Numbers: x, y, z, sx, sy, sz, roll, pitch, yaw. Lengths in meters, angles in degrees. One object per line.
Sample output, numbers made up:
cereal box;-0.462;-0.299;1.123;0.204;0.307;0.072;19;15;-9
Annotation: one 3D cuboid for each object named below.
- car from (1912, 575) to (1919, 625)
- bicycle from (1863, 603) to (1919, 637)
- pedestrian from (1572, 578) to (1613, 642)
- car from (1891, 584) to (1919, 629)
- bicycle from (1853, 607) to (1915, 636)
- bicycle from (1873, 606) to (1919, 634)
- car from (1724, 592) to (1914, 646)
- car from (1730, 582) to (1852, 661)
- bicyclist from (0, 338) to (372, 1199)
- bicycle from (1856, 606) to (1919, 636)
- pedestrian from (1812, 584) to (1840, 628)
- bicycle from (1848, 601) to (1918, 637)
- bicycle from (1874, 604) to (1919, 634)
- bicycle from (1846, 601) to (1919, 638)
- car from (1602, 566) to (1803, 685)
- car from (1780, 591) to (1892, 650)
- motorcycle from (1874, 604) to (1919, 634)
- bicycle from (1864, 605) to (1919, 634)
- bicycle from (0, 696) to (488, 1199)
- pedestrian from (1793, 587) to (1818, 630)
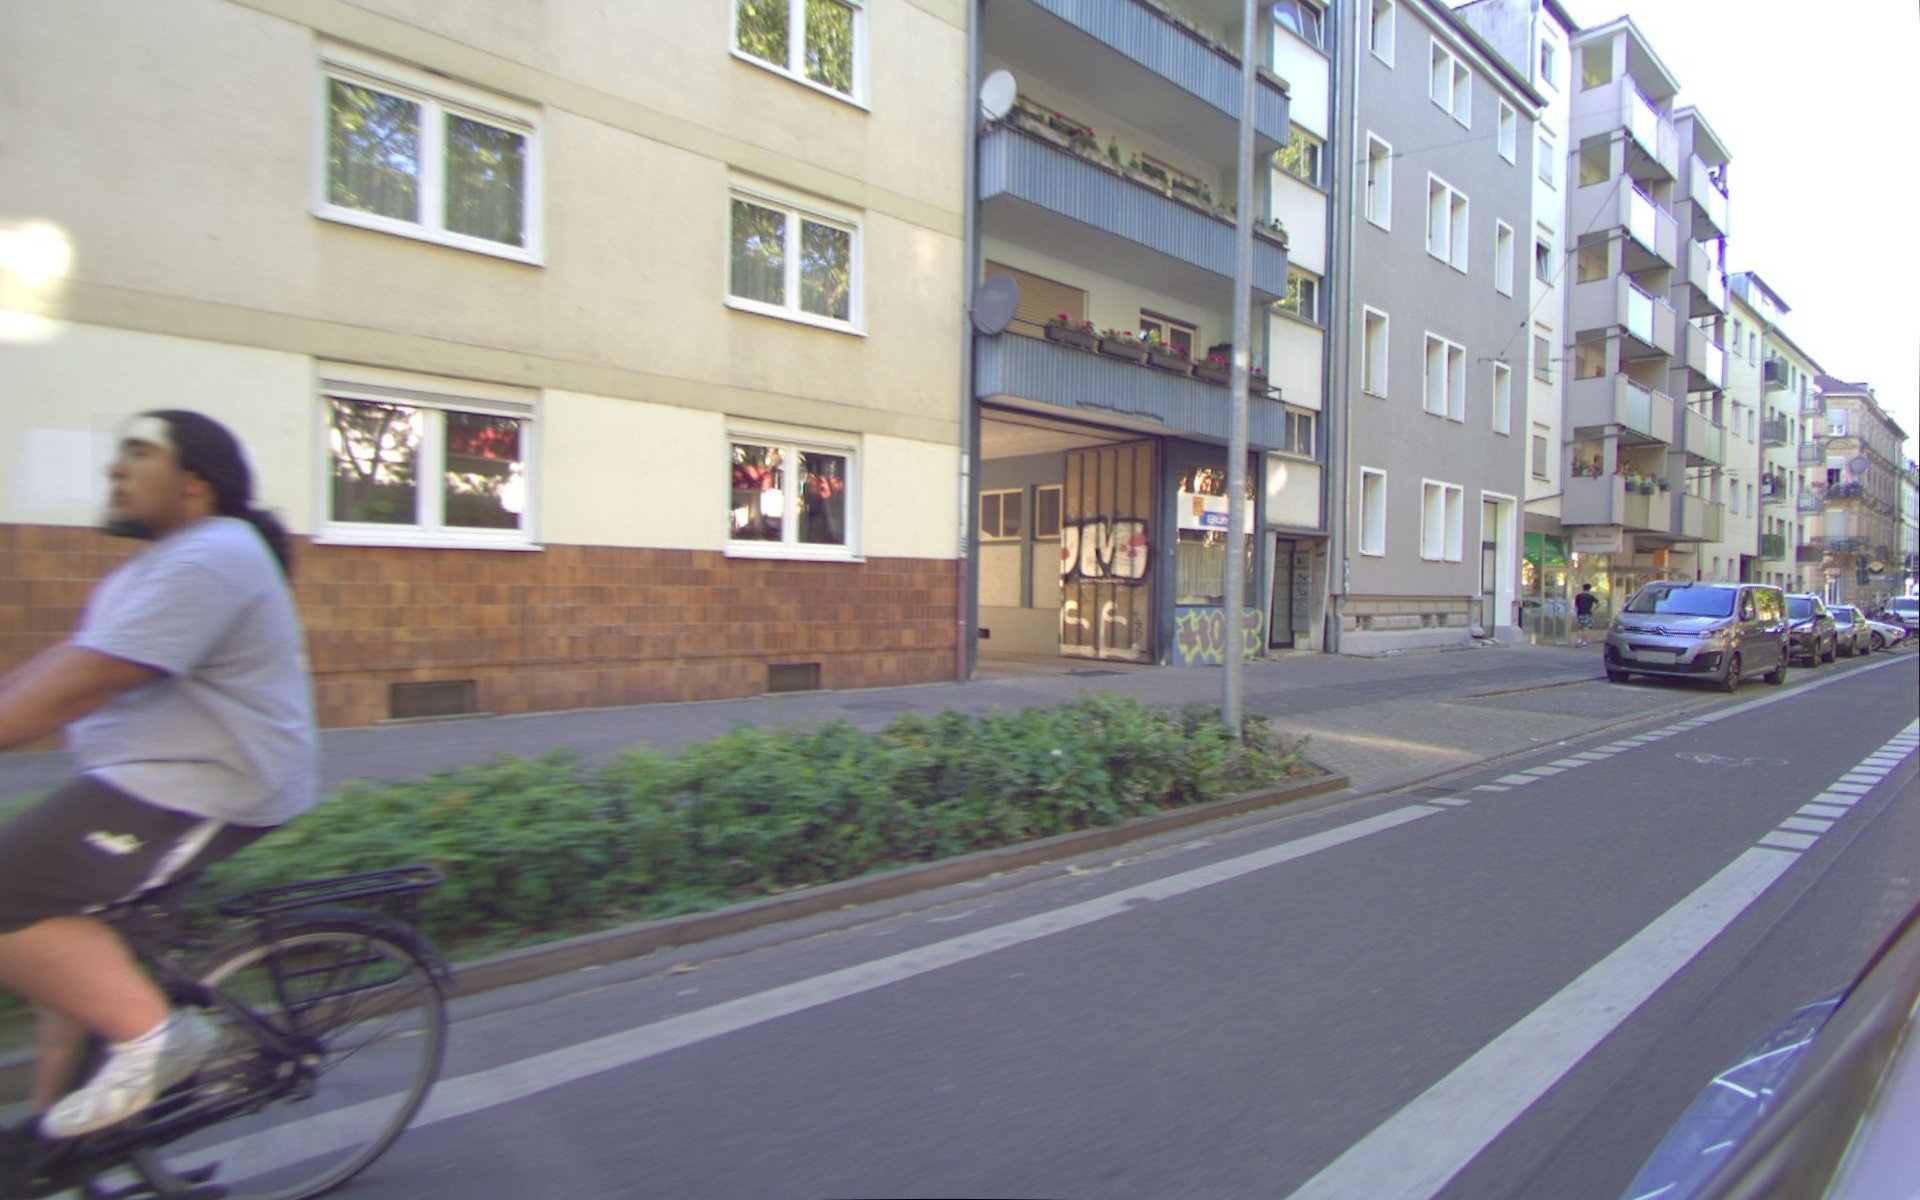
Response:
car;50.823;-0.017;52.086;5.984;2.526;2.152;0;1;-42
bicycle;35.517;0.765;38.362;0.692;1.162;1.797;0;3;-41
pedestrian;17.517;0.260;28.044;0.707;1.741;0.757;0;1;-40
car;43.163;0.273;45.176;4.277;1.841;1.862;-1;5;-42
bicycle;34.550;0.787;37.854;0.449;0.978;1.656;0;3;-41
bicycle;36.616;0.789;39.301;0.449;0.999;1.656;0;3;-41
car;27.984;0.568;33.193;4.606;1.455;1.839;3;2;38
car;20.071;0.461;24.378;4.211;1.726;1.768;0;1;-44
bicyclist;-1.879;0.414;2.205;0.899;1.781;0.788;0;1;-42
bicycle;34.933;0.785;38.134;0.449;1.033;1.656;0;3;-41
pedestrian;37.441;0.247;43.742;1.062;1.845;0.711;-1;2;-40
bicycle;34.201;0.701;37.511;0.449;1.206;1.827;0;3;-41
bicycle;36.961;0.744;39.634;0.449;1.068;1.656;0;3;-41
bicycle;33.857;0.710;37.178;0.449;1.206;1.896;0;3;-41
car;13.724;0.384;18.589;4.837;1.913;1.862;0;1;-40
car;25.033;0.537;28.872;4.432;1.544;1.728;0;1;-40
motorcycle;37.688;0.757;40.320;0.604;1.093;1.829;1;2;-18
bicycle;36.116;0.758;39.118;0.449;0.999;1.656;0;3;-41
bicycle;-2.160;0.855;2.177;1.956;1.106;0.702;-1;0;-42
pedestrian;37.005;0.367;44.295;1.062;1.845;0.626;-1;2;-40
